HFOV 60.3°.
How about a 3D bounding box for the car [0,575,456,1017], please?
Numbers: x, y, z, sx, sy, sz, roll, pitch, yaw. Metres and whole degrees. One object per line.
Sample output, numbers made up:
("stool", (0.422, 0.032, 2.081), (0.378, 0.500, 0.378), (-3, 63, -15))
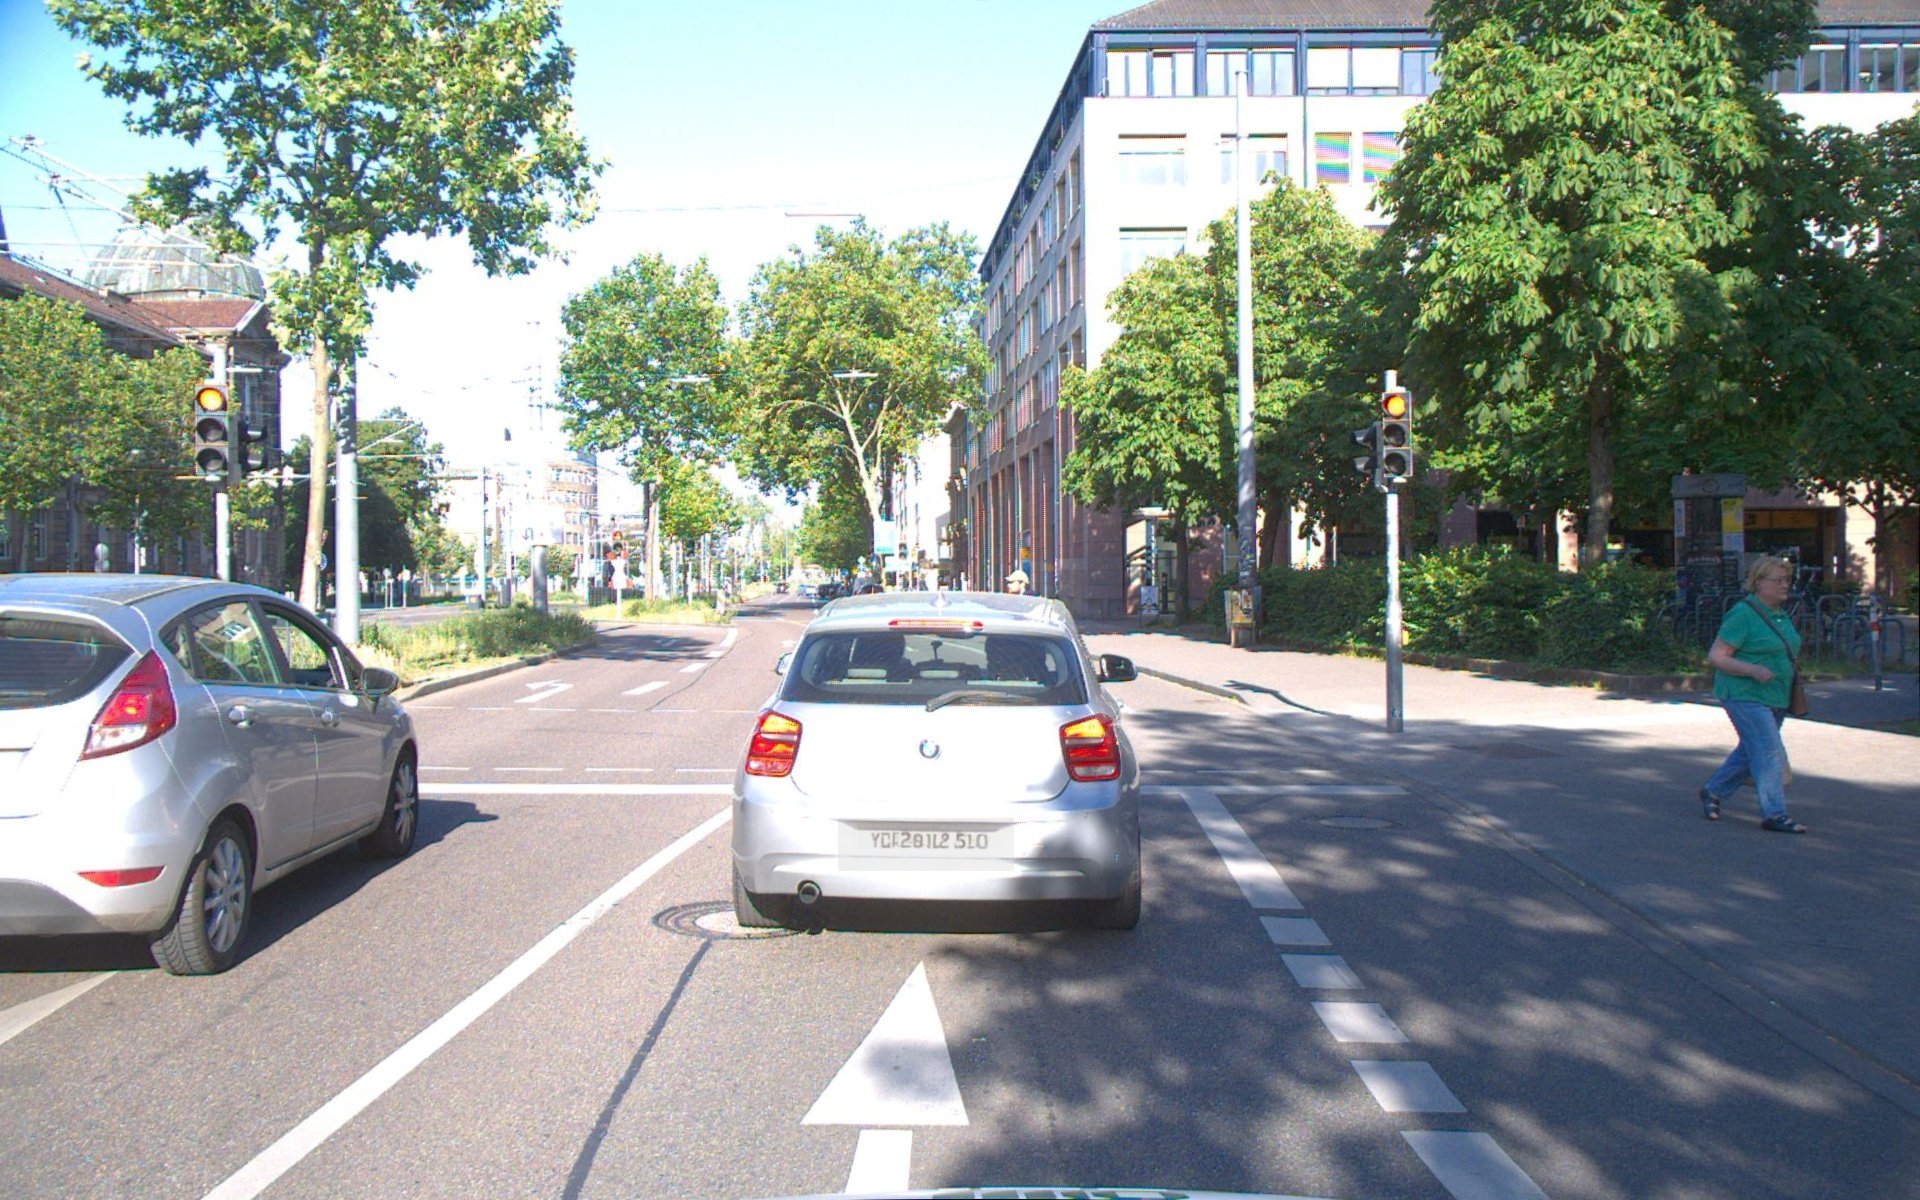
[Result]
("car", (-3.478, 0.626, 7.162), (1.627, 1.434, 3.630), (1, 0, -3))

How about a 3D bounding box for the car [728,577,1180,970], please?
("car", (0.057, 0.626, 8.176), (1.694, 1.414, 3.841), (1, 1, 2))

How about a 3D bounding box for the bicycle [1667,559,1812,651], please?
("bicycle", (12.088, 0.074, 25.663), (1.956, 1.337, 0.574), (-2, 0, -2))

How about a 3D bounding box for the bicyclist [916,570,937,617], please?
("bicyclist", (-1.228, -0.227, 60.344), (0.644, 1.686, 0.765), (-1, 0, 4))

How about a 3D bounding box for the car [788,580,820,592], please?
("car", (-20.262, -1.823, 214.774), (3.931, 1.512, 1.987), (0, 1, 44))

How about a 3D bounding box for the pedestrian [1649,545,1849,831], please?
("pedestrian", (4.682, 0.491, 9.821), (0.732, 1.603, 0.820), (-1, 0, -41))

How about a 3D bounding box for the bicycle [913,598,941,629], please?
("bicycle", (-1.199, 0.476, 60.400), (0.814, 1.059, 1.875), (-1, 1, 4))

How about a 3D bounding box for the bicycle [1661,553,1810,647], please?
("bicycle", (11.729, -0.002, 25.034), (1.956, 1.337, 0.574), (-2, 0, -2))

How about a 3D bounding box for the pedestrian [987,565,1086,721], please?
("pedestrian", (0.823, 0.452, 17.899), (0.924, 1.657, 0.626), (0, 0, -14))

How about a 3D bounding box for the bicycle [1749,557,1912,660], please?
("bicycle", (12.134, 0.117, 23.070), (1.956, 1.337, 0.574), (-2, 0, -2))
